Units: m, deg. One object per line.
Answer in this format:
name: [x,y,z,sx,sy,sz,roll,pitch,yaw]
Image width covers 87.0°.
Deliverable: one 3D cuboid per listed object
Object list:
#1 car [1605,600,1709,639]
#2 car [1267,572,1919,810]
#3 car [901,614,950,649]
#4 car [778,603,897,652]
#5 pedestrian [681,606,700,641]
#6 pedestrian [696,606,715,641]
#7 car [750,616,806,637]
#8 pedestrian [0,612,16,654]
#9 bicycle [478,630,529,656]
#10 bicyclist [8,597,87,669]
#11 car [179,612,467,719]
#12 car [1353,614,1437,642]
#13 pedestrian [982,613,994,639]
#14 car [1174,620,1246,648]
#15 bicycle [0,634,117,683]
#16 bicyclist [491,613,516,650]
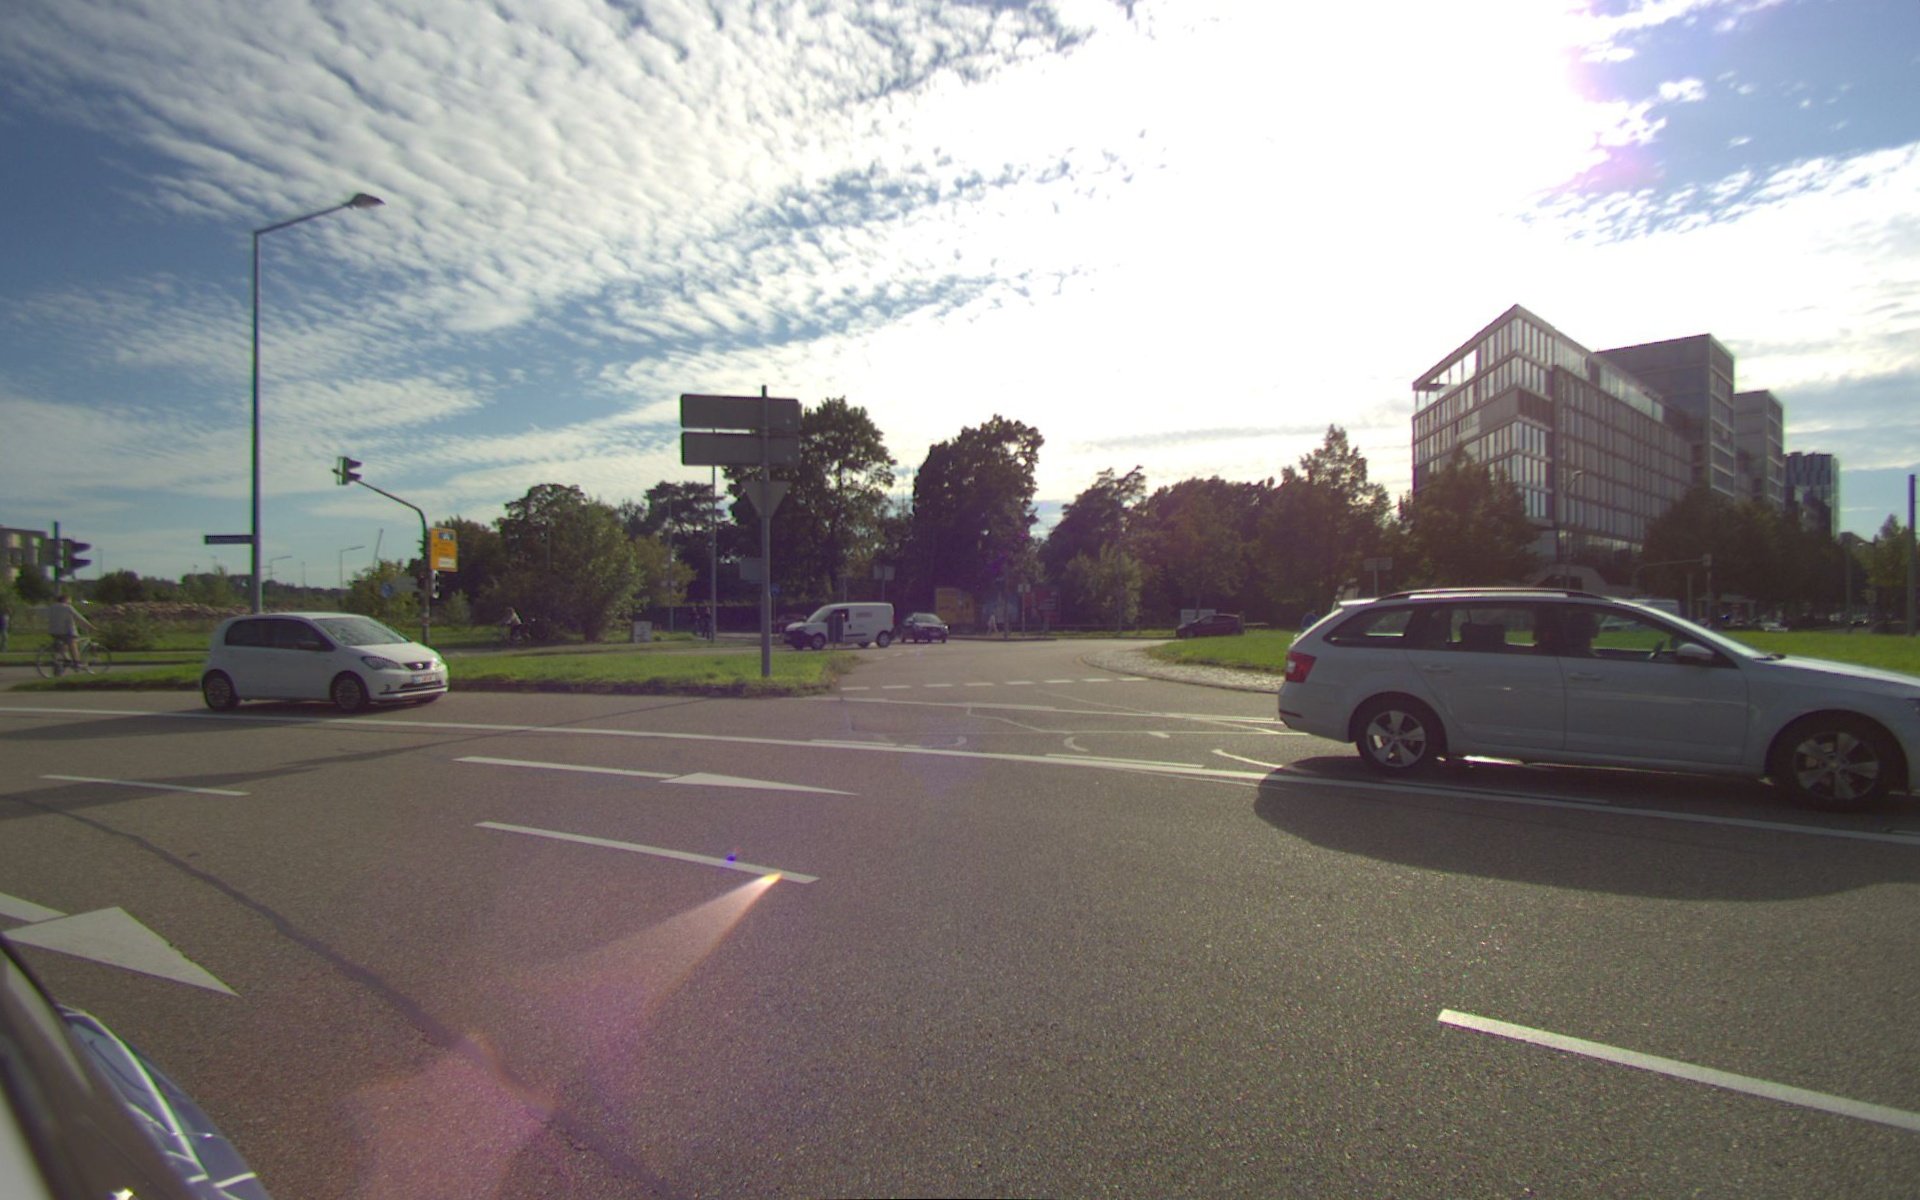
car: [42.783,1.224,62.107,5.920,2.281,2.072,0,-3,-19]
car: [5.000,0.608,7.907,4.627,1.456,1.835,-2,-1,35]
car: [-1.725,1.516,49.268,1.657,1.512,4.005,-1,1,-13]
car: [-4.908,1.126,40.790,4.485,1.839,1.690,1,-3,-34]
pedestrian: [-15.063,1.316,56.637,0.851,1.930,0.900,-1,1,-27]
pedestrian: [-14.401,1.301,57.205,0.851,1.930,0.900,-1,1,-27]
car: [-13.453,1.925,74.619,3.990,1.431,1.748,0,0,34]
pedestrian: [-38.174,1.310,40.246,0.648,1.642,0.629,0,0,0]
bicycle: [-18.689,1.753,41.455,0.610,0.995,1.814,1,0,38]
bicyclist: [-20.354,0.731,22.600,0.984,1.567,0.865,0,-1,2]
car: [-9.798,0.952,15.668,3.623,1.475,1.760,0,0,13]
car: [24.220,1.579,56.414,3.931,1.513,1.688,0,-3,-7]
pedestrian: [1.756,1.602,63.048,0.505,1.637,0.541,-1,-1,37]
car: [14.264,1.957,57.938,3.954,1.513,1.678,-1,-3,13]
bicycle: [-20.296,1.285,22.787,0.988,1.015,1.960,0,-1,2]
bicyclist: [-18.702,1.282,41.448,0.610,1.456,0.689,1,0,37]
